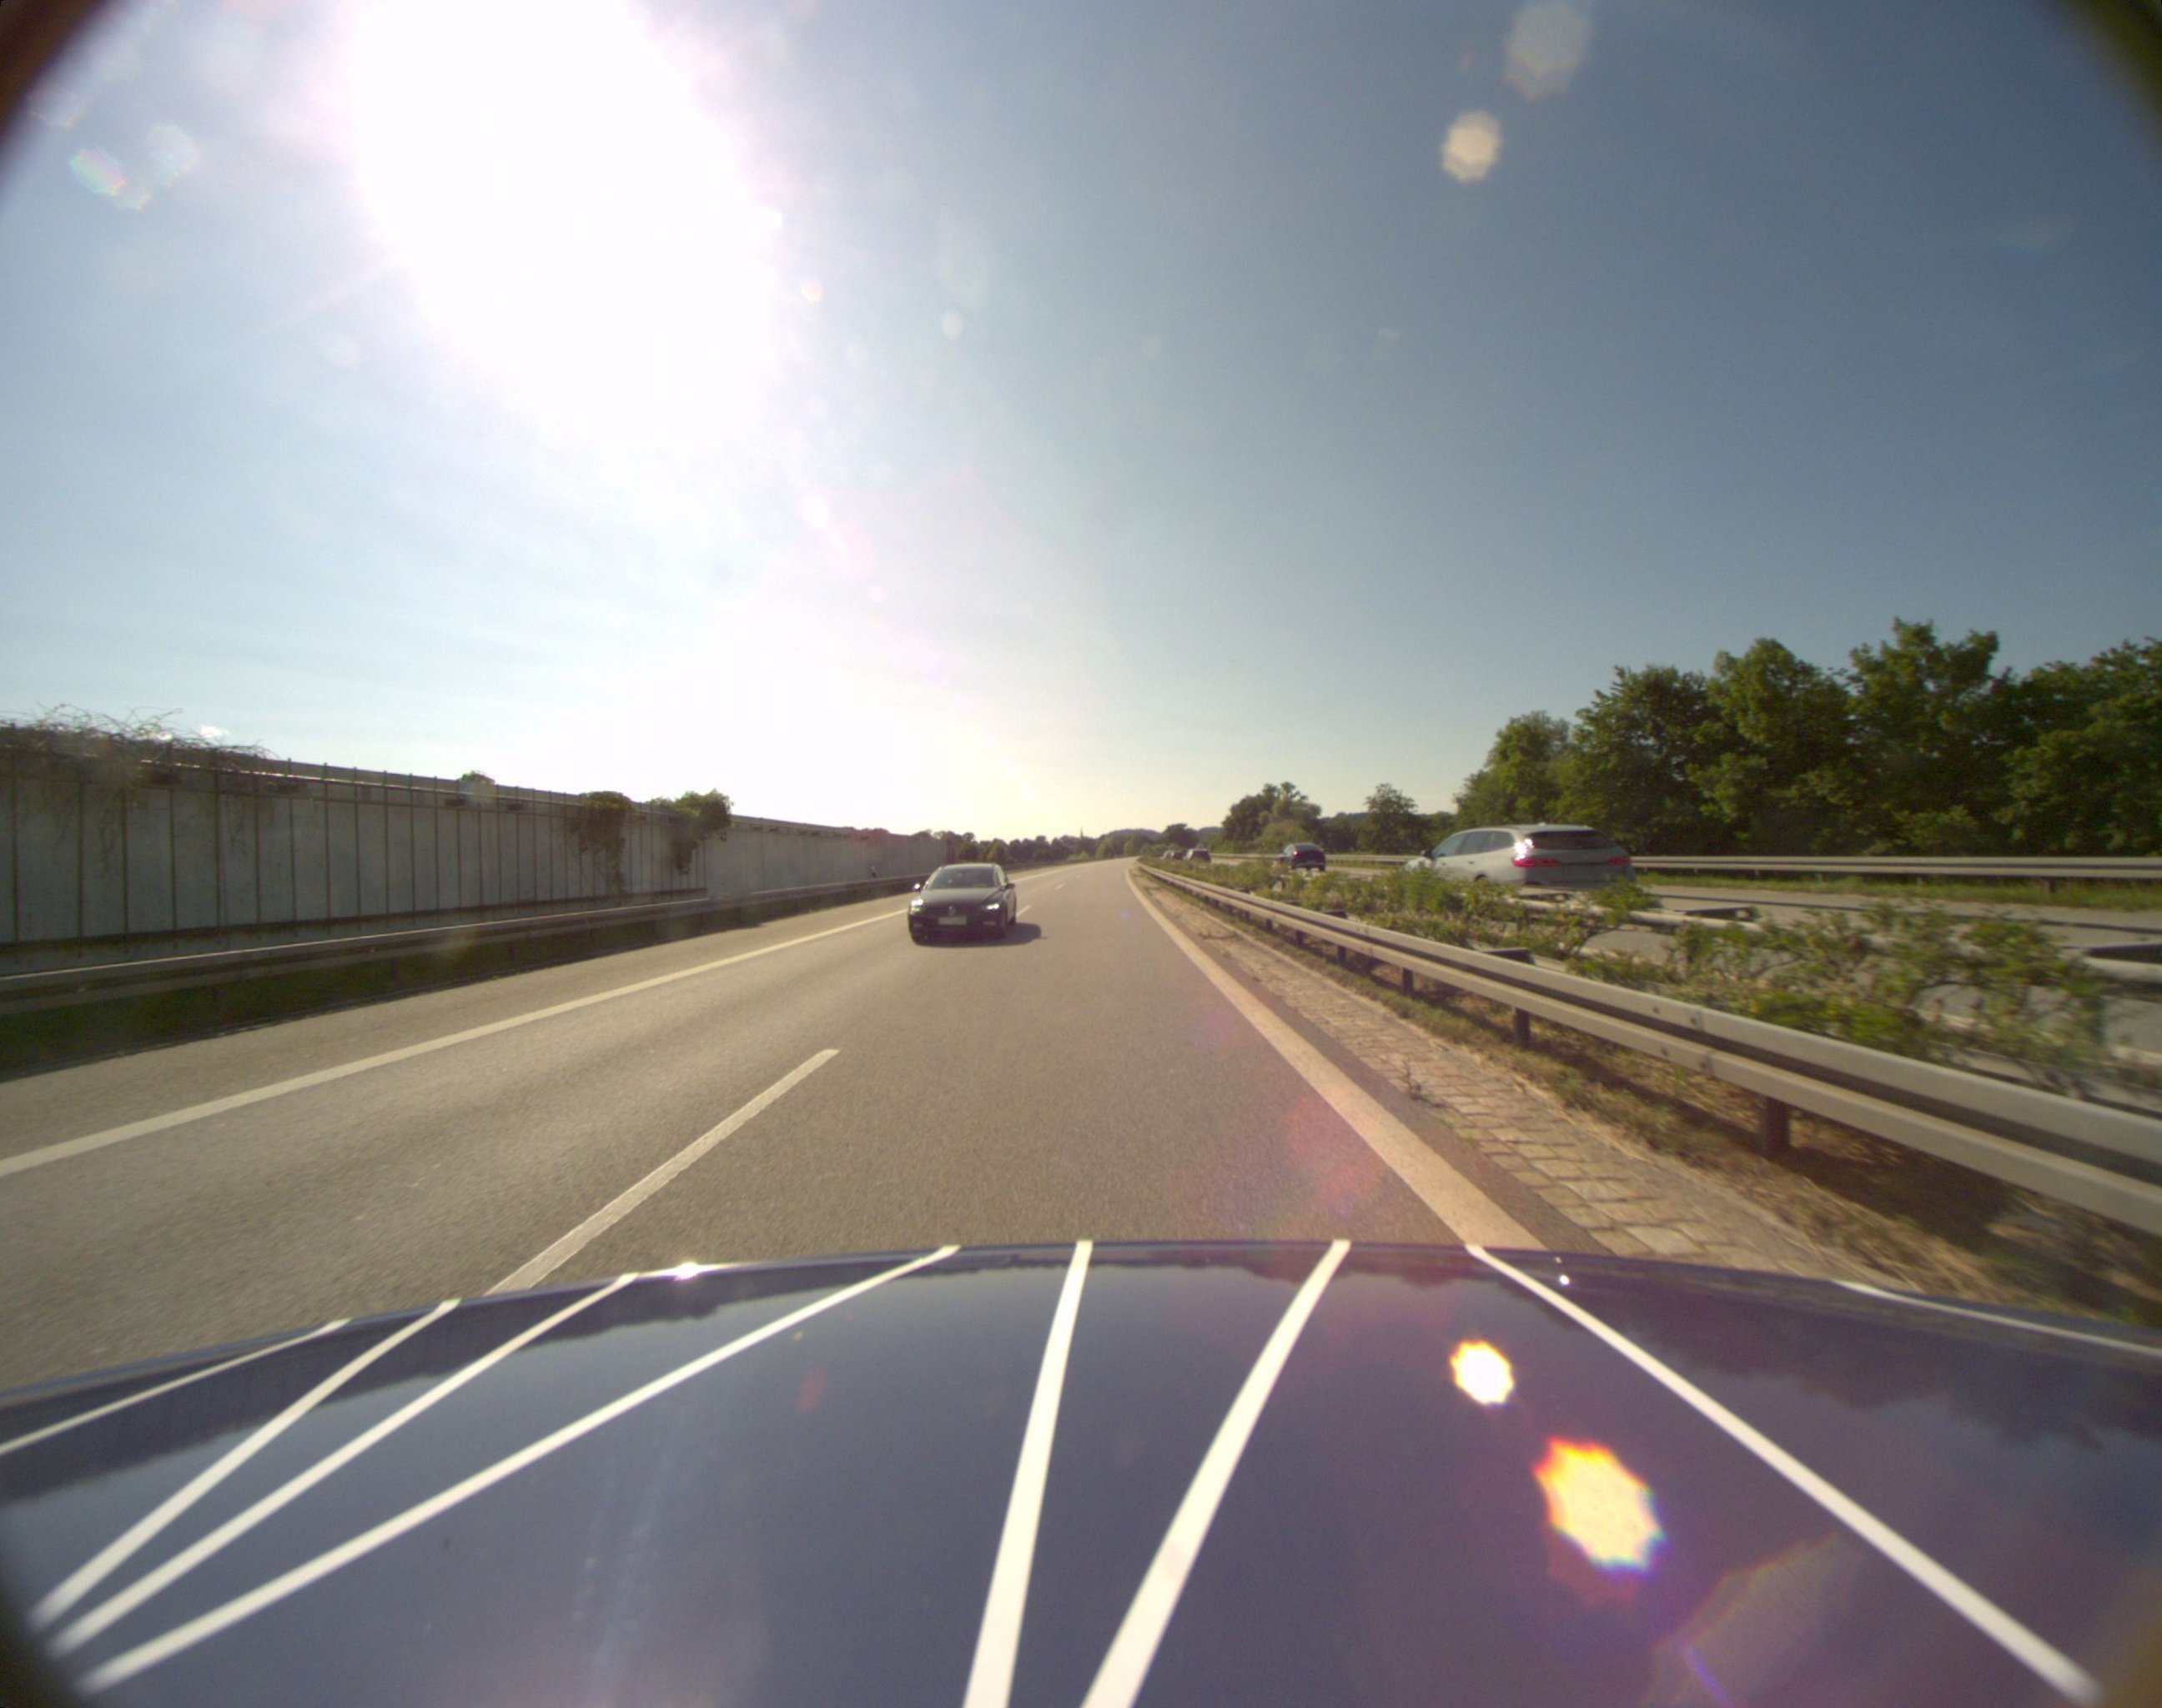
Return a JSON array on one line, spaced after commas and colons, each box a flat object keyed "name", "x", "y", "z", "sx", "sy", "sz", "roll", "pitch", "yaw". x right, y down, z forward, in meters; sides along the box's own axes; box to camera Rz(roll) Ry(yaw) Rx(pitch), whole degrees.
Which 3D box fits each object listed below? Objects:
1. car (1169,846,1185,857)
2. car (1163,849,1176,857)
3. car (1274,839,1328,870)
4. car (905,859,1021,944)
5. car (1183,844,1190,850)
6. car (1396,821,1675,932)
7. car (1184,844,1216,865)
[{"name": "car", "x": 14.032, "y": -0.404, "z": 111.380, "sx": 1.777, "sy": 1.461, "sz": 4.507, "roll": -3, "pitch": 0, "yaw": 2}, {"name": "car", "x": 15.967, "y": -0.221, "z": 137.583, "sx": 1.825, "sy": 1.426, "sz": 4.650, "roll": -3, "pitch": 0, "yaw": 2}, {"name": "car", "x": 12.359, "y": 0.004, "z": 42.942, "sx": 1.858, "sy": 1.624, "sz": 4.493, "roll": -1, "pitch": 0, "yaw": 2}, {"name": "car", "x": -2.324, "y": 0.882, "z": 16.105, "sx": 1.723, "sy": 1.392, "sz": 4.412, "roll": -2, "pitch": 1, "yaw": 0}, {"name": "car", "x": 29.054, "y": -1.830, "z": 209.632, "sx": 1.997, "sy": 1.669, "sz": 5.320, "roll": -1, "pitch": 0, "yaw": 7}, {"name": "car", "x": 7.212, "y": 0.304, "z": 12.799, "sx": 1.936, "sy": 1.496, "sz": 4.793, "roll": -1, "pitch": 0, "yaw": 2}, {"name": "car", "x": 9.048, "y": 0.023, "z": 57.964, "sx": 1.858, "sy": 1.474, "sz": 4.000, "roll": -1, "pitch": 0, "yaw": 2}]
